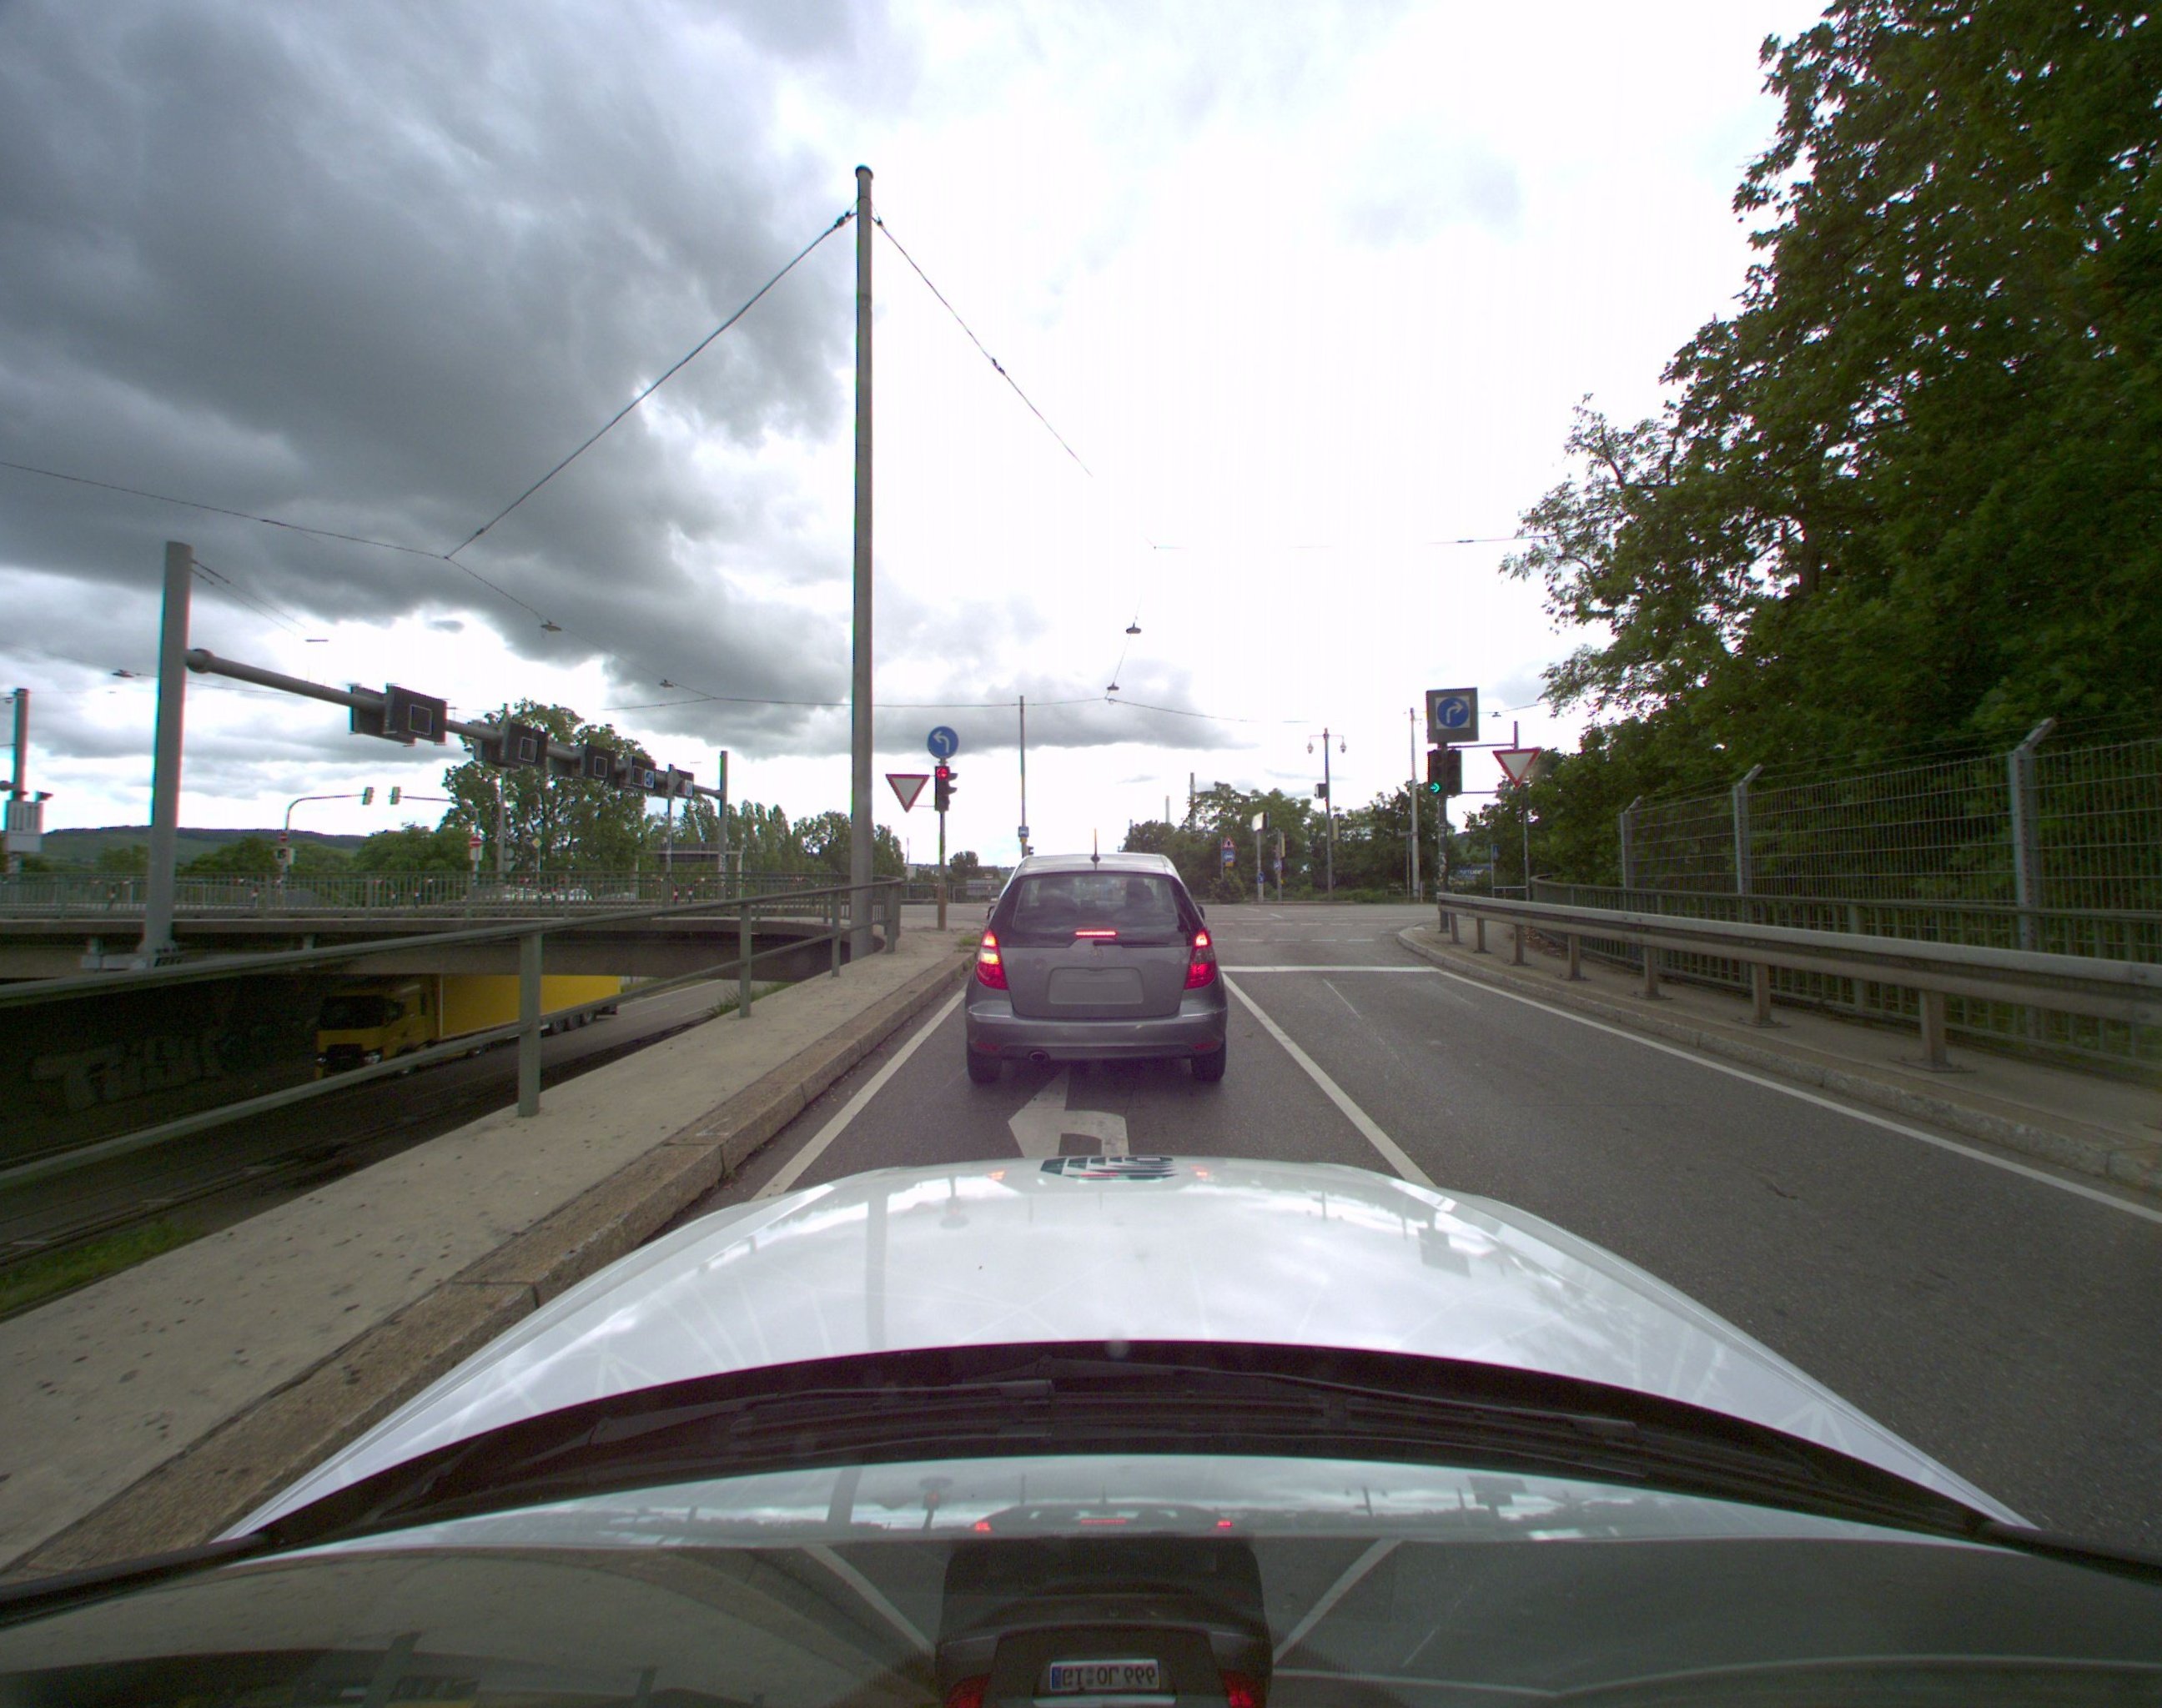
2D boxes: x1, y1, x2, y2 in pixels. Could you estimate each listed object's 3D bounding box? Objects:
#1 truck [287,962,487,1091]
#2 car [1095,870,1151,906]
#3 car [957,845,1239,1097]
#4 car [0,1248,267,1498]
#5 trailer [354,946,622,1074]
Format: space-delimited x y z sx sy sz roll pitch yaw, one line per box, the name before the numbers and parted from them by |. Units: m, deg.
truck | -28.421 6.919 33.778 3.230 4.182 5.803 -2 -3 1
car | 3.271 2.724 65.616 2.441 2.681 7.727 -1 -3 -13
car | 0.164 0.736 6.793 1.733 1.543 3.542 0 -1 2
car | -12.679 6.392 9.872 1.646 1.473 3.835 -1 -3 2
trailer | -28.404 7.215 40.556 3.230 4.263 13.675 -2 -3 0
